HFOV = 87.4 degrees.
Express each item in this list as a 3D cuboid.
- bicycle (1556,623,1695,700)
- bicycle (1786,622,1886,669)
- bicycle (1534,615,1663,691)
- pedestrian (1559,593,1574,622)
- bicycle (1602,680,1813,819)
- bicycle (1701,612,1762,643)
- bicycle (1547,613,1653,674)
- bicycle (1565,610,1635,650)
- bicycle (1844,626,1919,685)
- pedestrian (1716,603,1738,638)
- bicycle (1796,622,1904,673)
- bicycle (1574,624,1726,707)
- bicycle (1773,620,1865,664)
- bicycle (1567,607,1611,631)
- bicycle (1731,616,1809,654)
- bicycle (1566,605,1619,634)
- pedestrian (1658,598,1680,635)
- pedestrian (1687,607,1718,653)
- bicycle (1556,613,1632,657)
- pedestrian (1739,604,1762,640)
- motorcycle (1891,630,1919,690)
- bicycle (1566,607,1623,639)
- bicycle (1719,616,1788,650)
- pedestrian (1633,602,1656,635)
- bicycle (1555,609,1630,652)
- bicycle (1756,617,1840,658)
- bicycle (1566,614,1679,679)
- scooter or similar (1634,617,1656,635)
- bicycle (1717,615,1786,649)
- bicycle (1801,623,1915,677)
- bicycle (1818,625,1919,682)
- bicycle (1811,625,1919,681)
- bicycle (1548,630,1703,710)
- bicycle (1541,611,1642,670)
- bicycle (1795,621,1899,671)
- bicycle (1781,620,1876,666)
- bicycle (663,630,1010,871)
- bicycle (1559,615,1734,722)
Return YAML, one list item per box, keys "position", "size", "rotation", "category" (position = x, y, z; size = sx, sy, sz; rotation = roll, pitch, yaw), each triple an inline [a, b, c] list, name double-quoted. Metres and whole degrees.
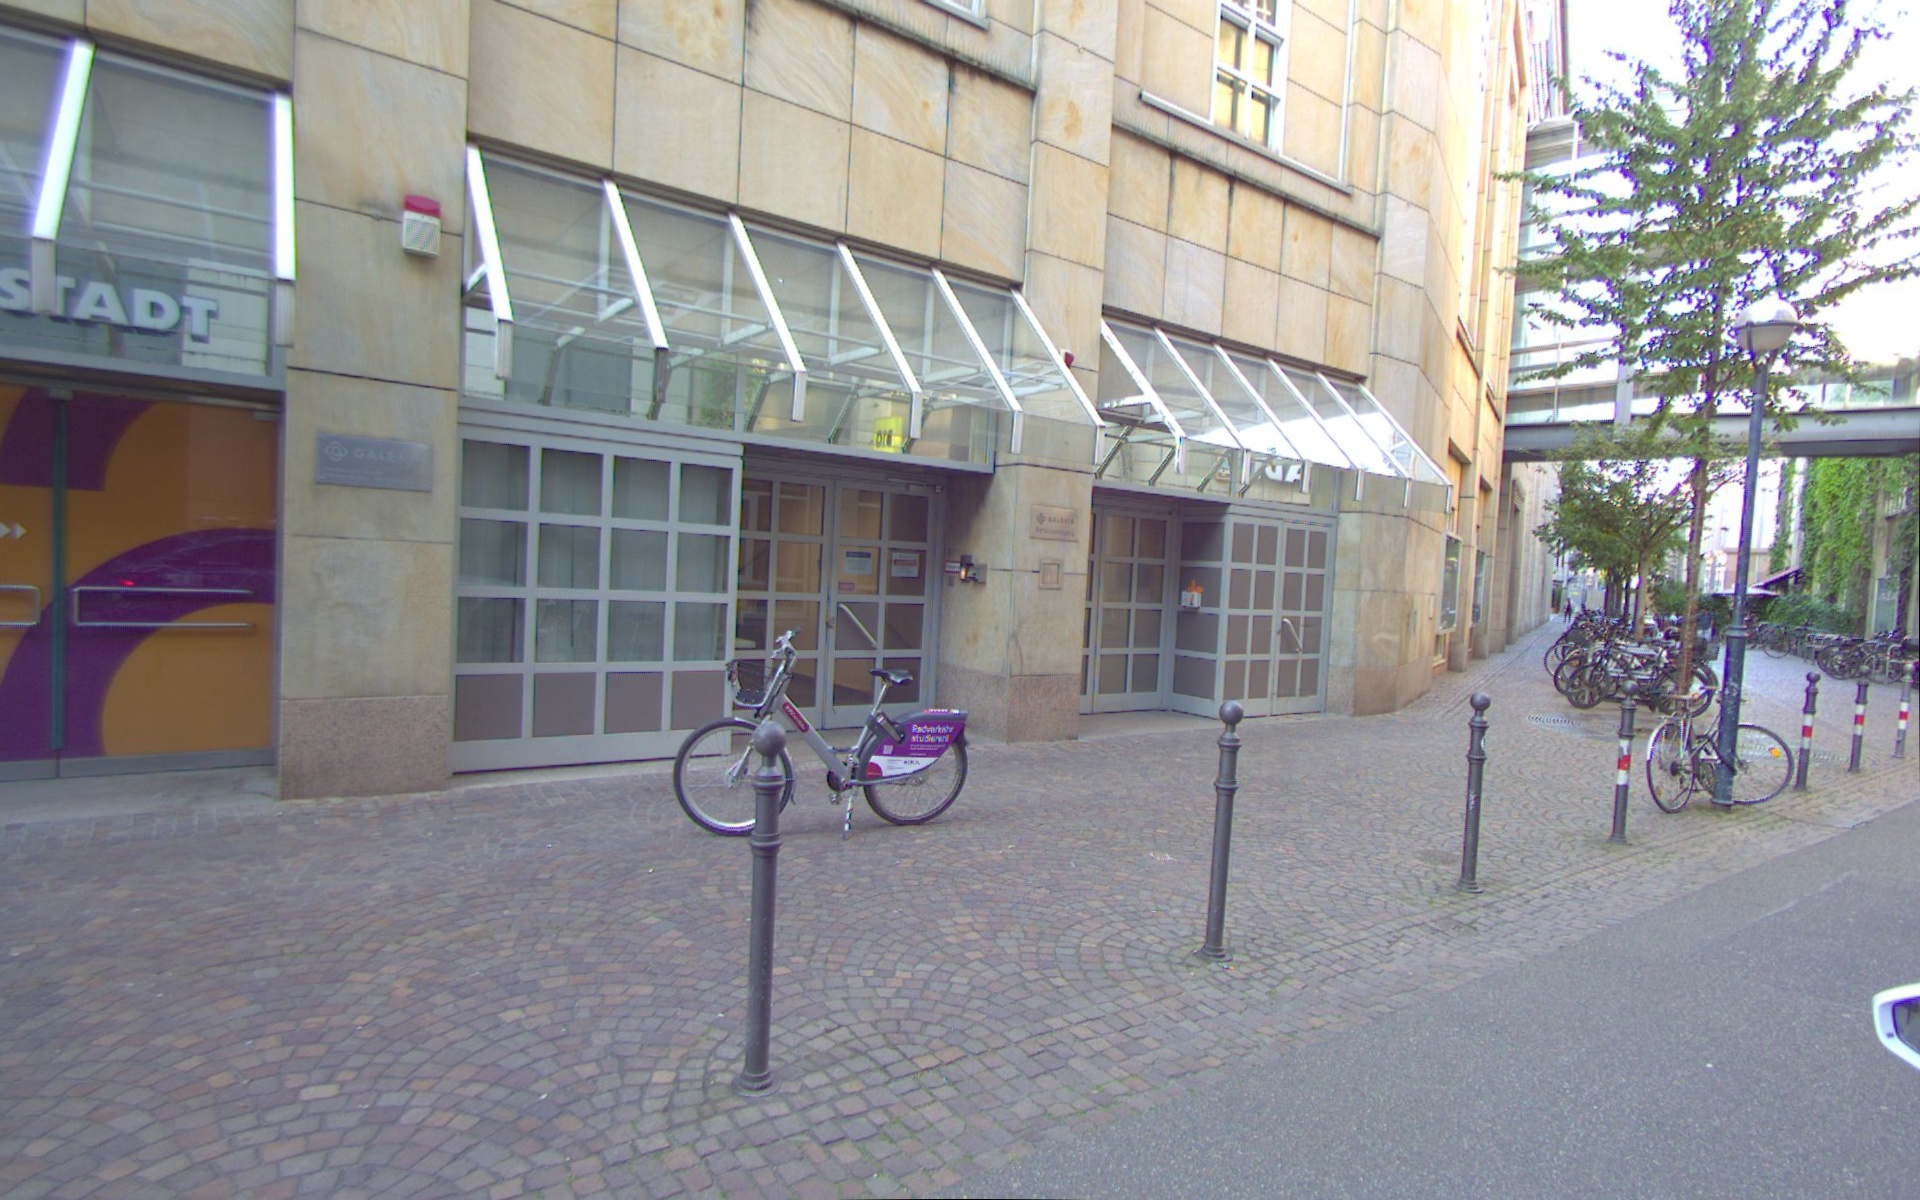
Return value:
- position: [11.353, 1.016, 17.161]
  size: [1.889, 1.116, 0.693]
  rotation: [4, 2, 37]
  category: "bicycle"
- position: [24.030, 1.230, 27.613]
  size: [1.967, 1.198, 0.692]
  rotation: [2, 1, 35]
  category: "bicycle"
- position: [11.625, 0.940, 18.317]
  size: [1.889, 1.198, 0.693]
  rotation: [4, 2, 37]
  category: "bicycle"
- position: [39.478, 0.469, 65.348]
  size: [0.763, 1.828, 0.632]
  rotation: [3, 2, 32]
  category: "pedestrian"
- position: [5.921, 1.147, 7.950]
  size: [1.670, 0.979, 0.504]
  rotation: [2, 2, -22]
  category: "bicycle"
- position: [32.518, 1.153, 42.371]
  size: [1.967, 1.198, 0.692]
  rotation: [2, 1, 35]
  category: "bicycle"
- position: [14.184, 0.935, 22.288]
  size: [1.889, 1.198, 0.693]
  rotation: [4, 2, 37]
  category: "bicycle"
- position: [21.696, 0.996, 34.060]
  size: [1.889, 1.198, 0.693]
  rotation: [4, 2, 37]
  category: "bicycle"
- position: [20.600, 1.214, 21.851]
  size: [1.967, 1.198, 0.694]
  rotation: [2, 1, 35]
  category: "bicycle"
- position: [40.468, 1.070, 52.998]
  size: [0.763, 1.828, 0.766]
  rotation: [3, 2, 32]
  category: "pedestrian"
- position: [22.945, 1.200, 25.944]
  size: [1.967, 1.198, 0.800]
  rotation: [2, 1, 35]
  category: "bicycle"
- position: [10.839, 1.002, 15.860]
  size: [1.887, 1.116, 0.694]
  rotation: [4, 2, 34]
  category: "bicycle"
- position: [25.358, 1.222, 29.691]
  size: [1.967, 1.198, 0.692]
  rotation: [2, 1, 35]
  category: "bicycle"
- position: [33.718, 1.014, 53.864]
  size: [1.889, 1.198, 0.693]
  rotation: [4, 2, 37]
  category: "bicycle"
- position: [27.375, 1.176, 33.984]
  size: [1.967, 1.198, 0.692]
  rotation: [2, 1, 35]
  category: "bicycle"
- position: [28.350, 0.871, 45.026]
  size: [1.889, 1.198, 0.693]
  rotation: [4, 2, 37]
  category: "bicycle"
- position: [36.194, 0.826, 51.286]
  size: [0.754, 1.828, 0.775]
  rotation: [3, 2, 32]
  category: "pedestrian"
- position: [25.364, 1.008, 34.326]
  size: [0.737, 1.529, 0.636]
  rotation: [3, 2, 32]
  category: "pedestrian"
- position: [19.501, 1.053, 30.919]
  size: [1.889, 1.198, 0.693]
  rotation: [4, 2, 37]
  category: "bicycle"
- position: [41.083, 1.122, 52.201]
  size: [0.763, 1.828, 0.766]
  rotation: [3, 2, 32]
  category: "pedestrian"
- position: [19.832, 1.236, 20.071]
  size: [1.724, 1.171, 0.592]
  rotation: [2, 1, 38]
  category: "motorcycle"
- position: [26.089, 0.935, 41.313]
  size: [1.889, 1.198, 0.693]
  rotation: [4, 2, 37]
  category: "bicycle"
- position: [29.570, 1.216, 37.467]
  size: [1.967, 1.198, 0.692]
  rotation: [2, 1, 35]
  category: "bicycle"
- position: [35.855, 0.975, 52.608]
  size: [0.879, 1.661, 0.909]
  rotation: [3, 2, 32]
  category: "pedestrian"
- position: [19.936, 0.952, 31.689]
  size: [1.889, 1.198, 0.693]
  rotation: [4, 2, 37]
  category: "bicycle"
- position: [26.617, 1.178, 31.950]
  size: [1.967, 1.198, 0.692]
  rotation: [2, 1, 35]
  category: "bicycle"
- position: [14.011, 0.957, 21.271]
  size: [1.889, 1.198, 0.693]
  rotation: [4, 2, 37]
  category: "bicycle"
- position: [35.343, 1.322, 51.851]
  size: [0.879, 0.854, 0.909]
  rotation: [3, 2, 32]
  category: "scooter or similar"
- position: [30.054, 1.206, 38.171]
  size: [1.967, 1.198, 0.692]
  rotation: [2, 1, 35]
  category: "bicycle"
- position: [22.047, 1.216, 24.723]
  size: [1.967, 1.198, 0.800]
  rotation: [2, 1, 35]
  category: "bicycle"
- position: [20.909, 1.202, 22.883]
  size: [1.967, 1.198, 0.694]
  rotation: [2, 1, 35]
  category: "bicycle"
- position: [21.411, 1.221, 23.682]
  size: [1.967, 1.198, 0.800]
  rotation: [2, 1, 35]
  category: "bicycle"
- position: [10.108, 1.030, 15.316]
  size: [1.887, 1.007, 0.694]
  rotation: [4, 2, 34]
  category: "bicycle"
- position: [14.682, 0.922, 23.367]
  size: [1.889, 1.198, 0.693]
  rotation: [4, 2, 37]
  category: "bicycle"
- position: [23.578, 1.200, 26.742]
  size: [1.967, 1.198, 0.692]
  rotation: [2, 1, 35]
  category: "bicycle"
- position: [24.766, 1.198, 28.690]
  size: [1.967, 1.198, 0.692]
  rotation: [2, 1, 35]
  category: "bicycle"
- position: [-0.681, 0.768, 5.516]
  size: [1.750, 1.127, 0.692]
  rotation: [2, 2, -22]
  category: "bicycle"
- position: [9.422, 0.900, 13.871]
  size: [1.887, 1.278, 0.806]
  rotation: [4, 2, 34]
  category: "bicycle"
